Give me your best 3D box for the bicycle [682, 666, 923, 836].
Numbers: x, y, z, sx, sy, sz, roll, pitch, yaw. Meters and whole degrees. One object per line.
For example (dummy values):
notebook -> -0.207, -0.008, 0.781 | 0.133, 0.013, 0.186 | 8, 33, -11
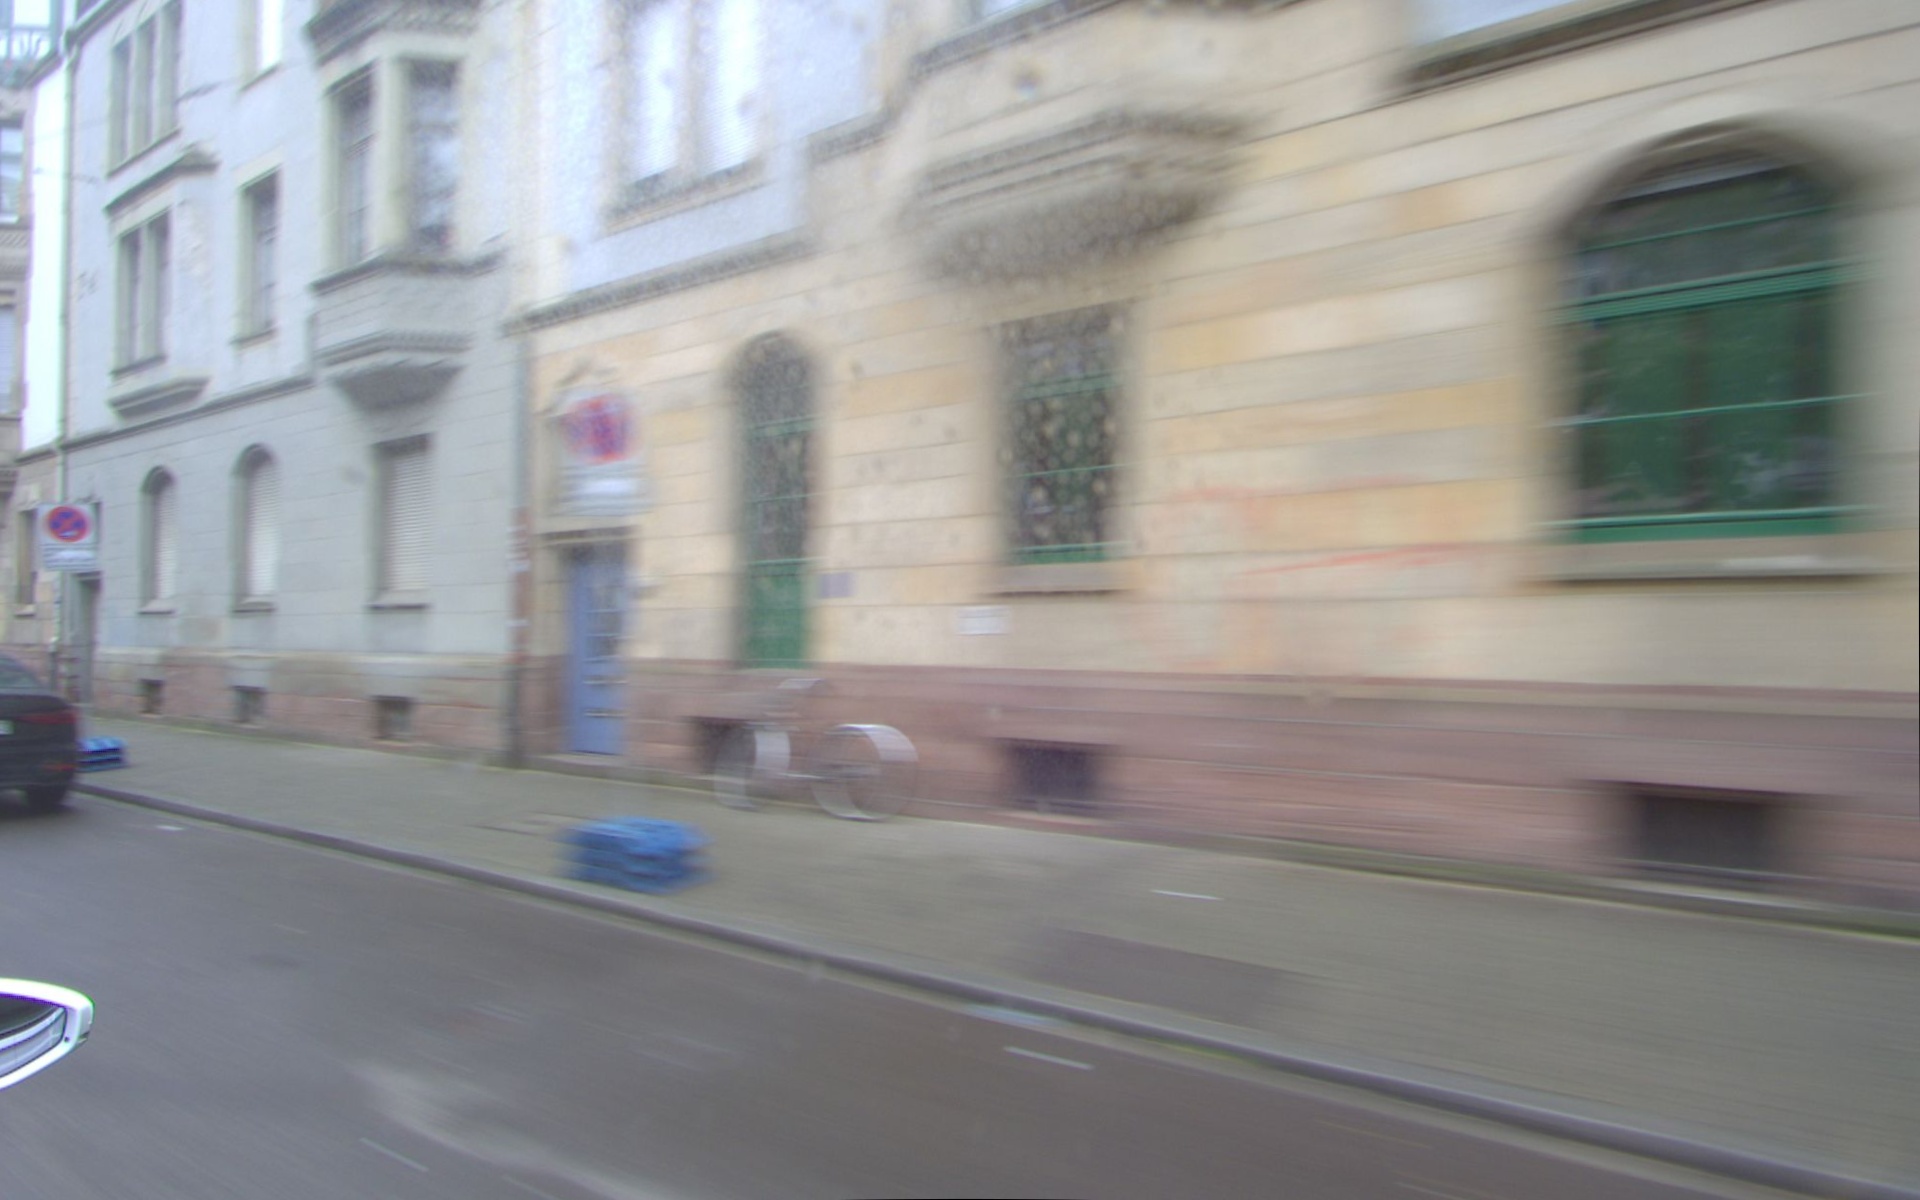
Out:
bicycle -> -1.254, 1.122, 7.815 | 1.889, 1.140, 0.610 | -1, -5, 33

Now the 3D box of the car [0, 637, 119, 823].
car -> -9.920, 1.071, 9.277 | 5.122, 1.456, 1.798 | -1, -2, 33
